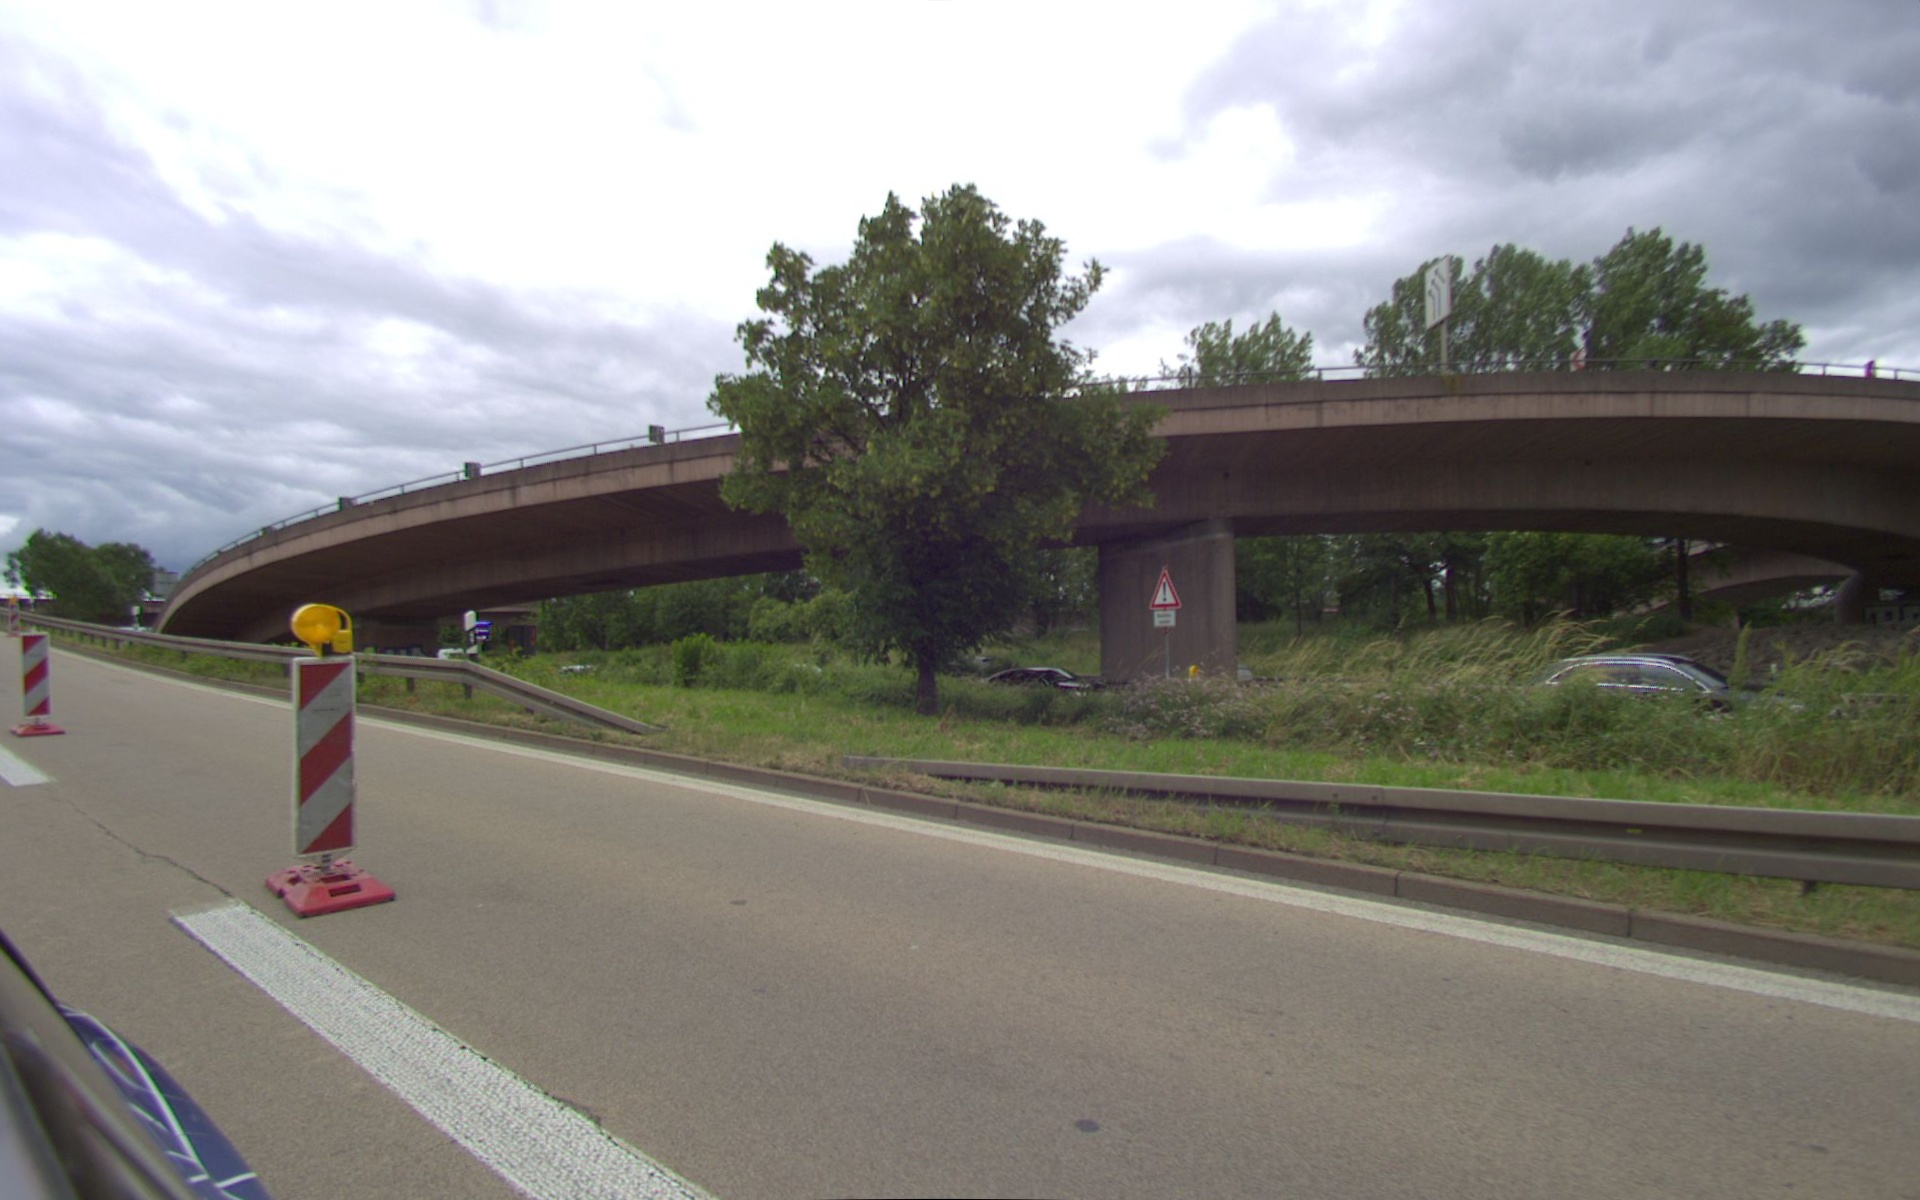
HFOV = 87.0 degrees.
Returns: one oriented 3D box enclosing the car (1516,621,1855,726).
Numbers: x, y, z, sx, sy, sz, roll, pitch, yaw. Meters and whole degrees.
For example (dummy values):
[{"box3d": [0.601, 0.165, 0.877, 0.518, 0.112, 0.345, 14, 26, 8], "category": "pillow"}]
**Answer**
[{"box3d": [12.935, 1.262, 18.305, 2.012, 1.627, 4.585, 0, -2, -40], "category": "car"}]
